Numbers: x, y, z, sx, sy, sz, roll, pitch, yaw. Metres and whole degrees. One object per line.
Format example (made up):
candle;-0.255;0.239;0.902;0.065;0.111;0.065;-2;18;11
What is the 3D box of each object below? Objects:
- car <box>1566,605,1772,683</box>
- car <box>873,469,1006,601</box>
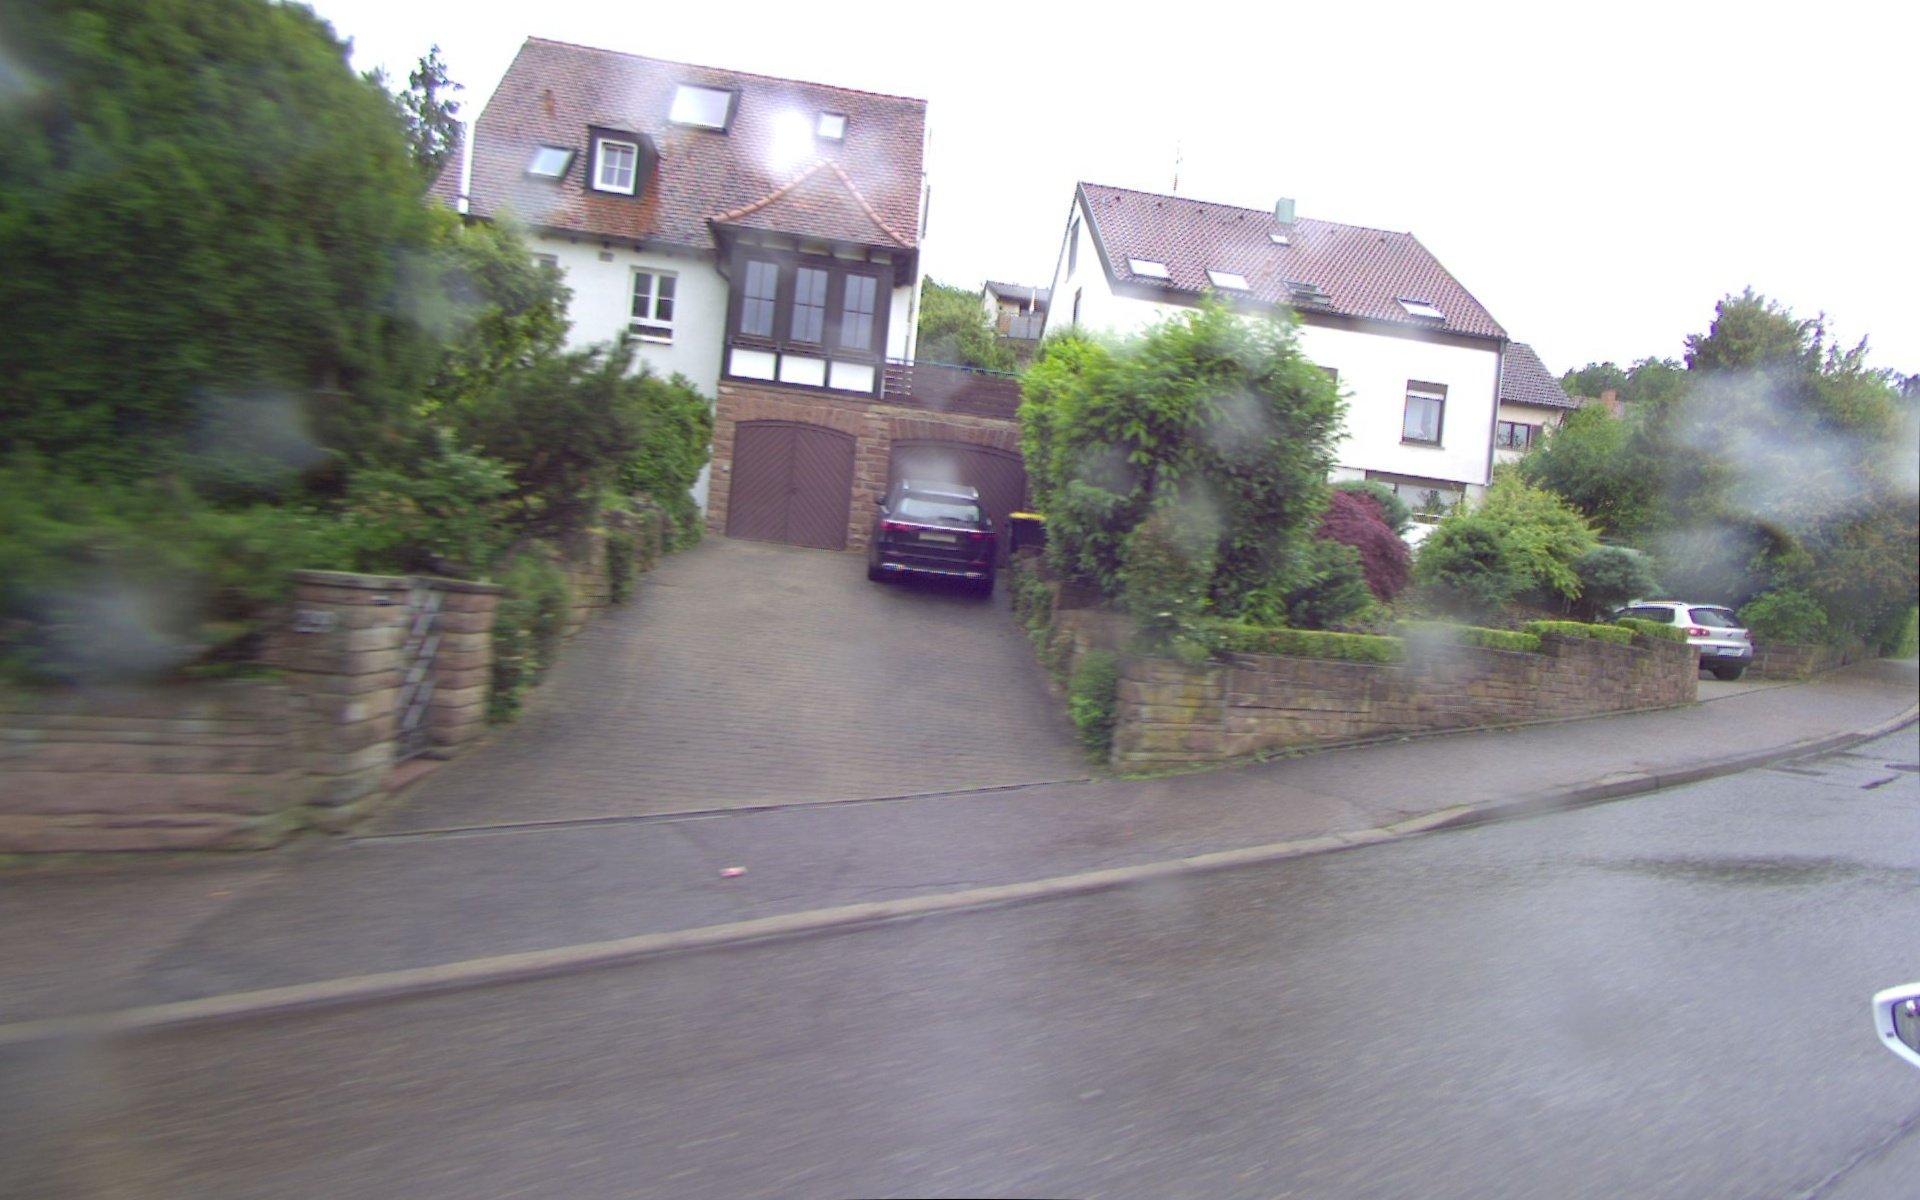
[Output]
car;16.574;1.022;23.736;1.829;1.605;3.942;2;-2;-6
car;-0.397;-1.097;15.252;1.698;1.545;3.792;3;9;-4
